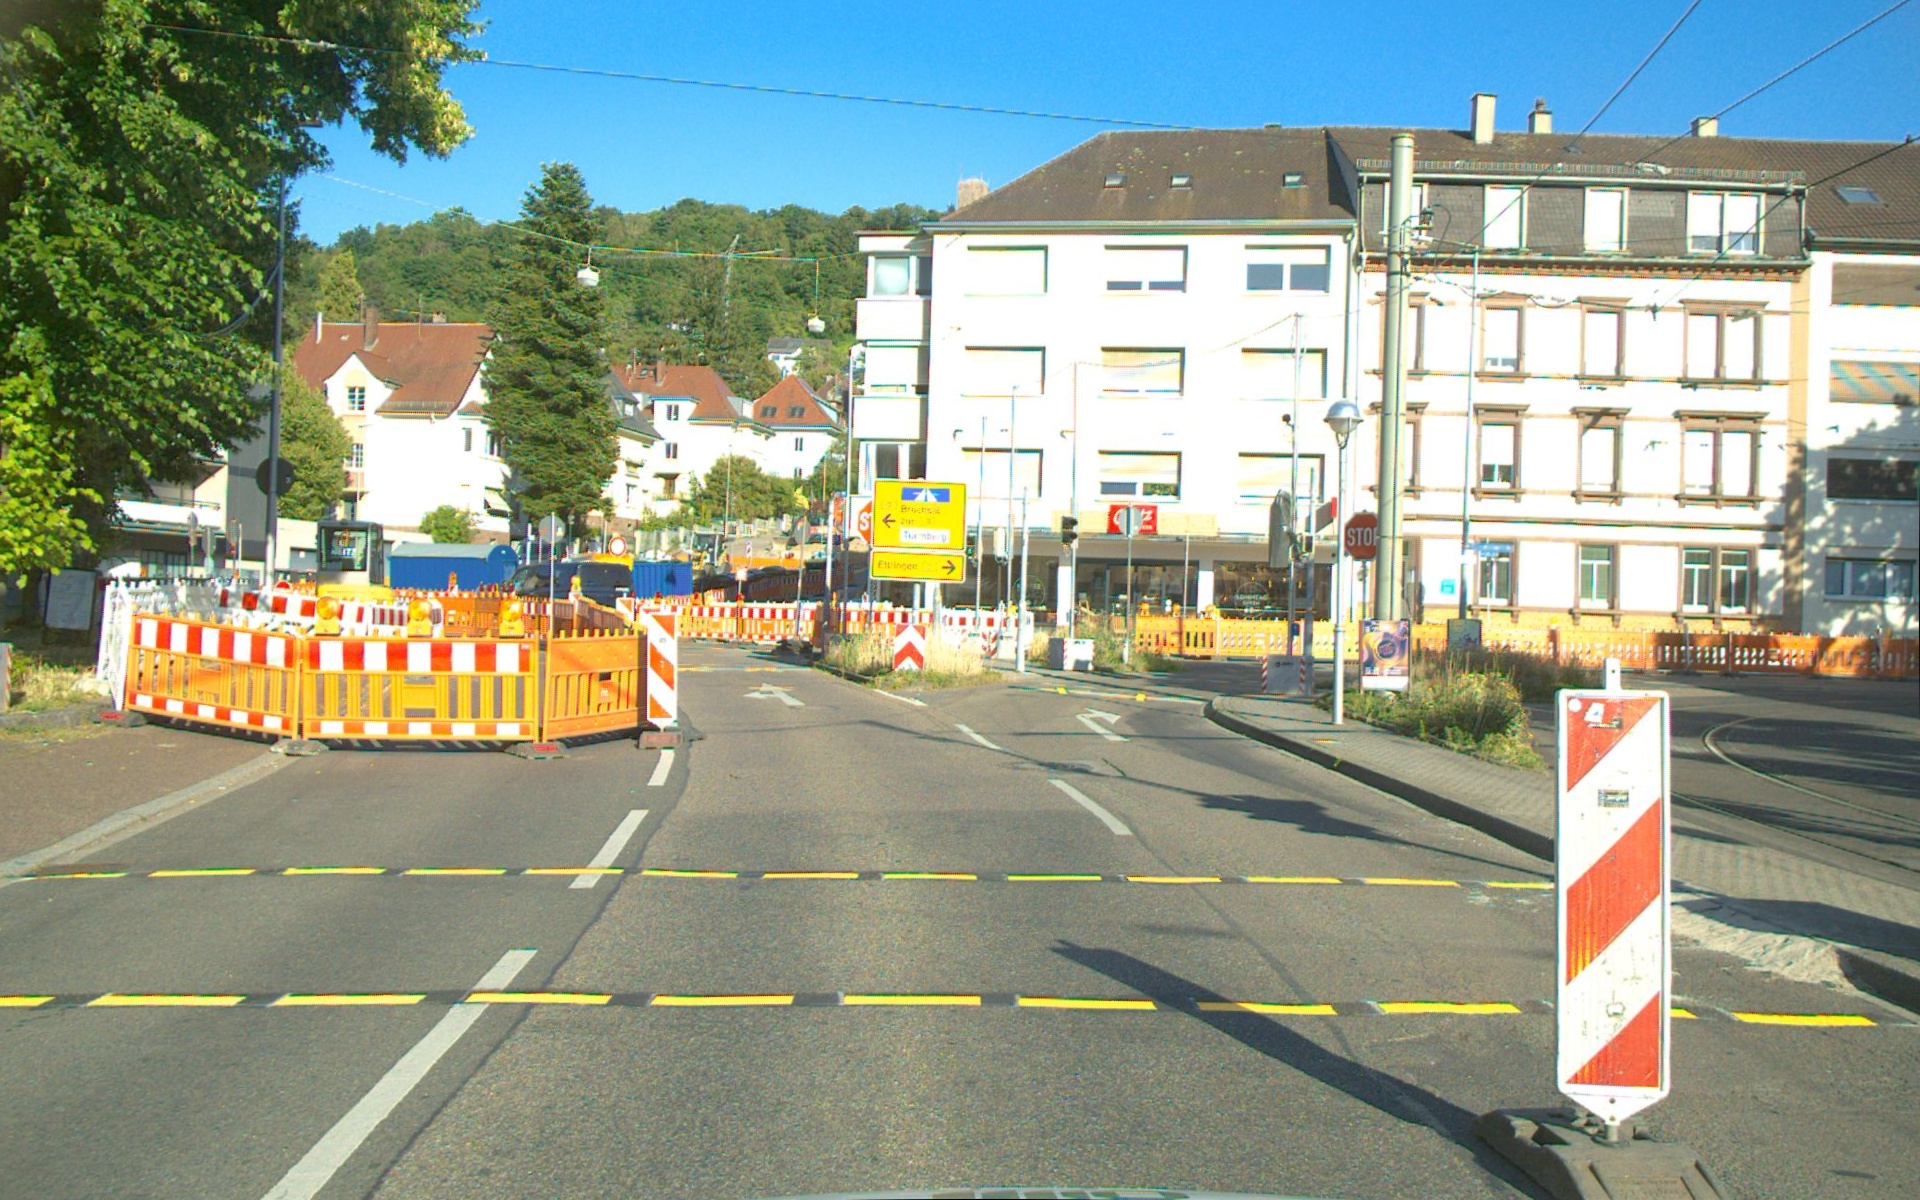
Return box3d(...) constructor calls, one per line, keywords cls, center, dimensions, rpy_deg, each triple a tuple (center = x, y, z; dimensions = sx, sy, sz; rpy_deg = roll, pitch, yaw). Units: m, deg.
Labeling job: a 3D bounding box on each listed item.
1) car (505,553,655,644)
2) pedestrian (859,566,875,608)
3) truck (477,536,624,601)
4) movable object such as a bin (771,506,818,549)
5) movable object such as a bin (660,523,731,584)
box3d(cls="car", center=(-9.925, -0.070, 42.905), dimensions=(2.045, 2.048, 4.939), rpy_deg=(2, 2, -35))
box3d(cls="pedestrian", center=(-4.005, -0.541, 71.082), dimensions=(0.627, 1.791, 0.718), rpy_deg=(1, 0, -1))
box3d(cls="truck", center=(-16.745, -1.216, 68.415), dimensions=(2.306, 2.458, 9.159), rpy_deg=(1, 0, 10))
box3d(cls="movable object such as a bin", center=(-11.328, -4.956, 113.646), dimensions=(2.144, 2.737, 4.003), rpy_deg=(1, 0, 9))
box3d(cls="movable object such as a bin", center=(-12.648, -2.191, 79.312), dimensions=(2.144, 2.737, 4.003), rpy_deg=(1, 0, 9))
